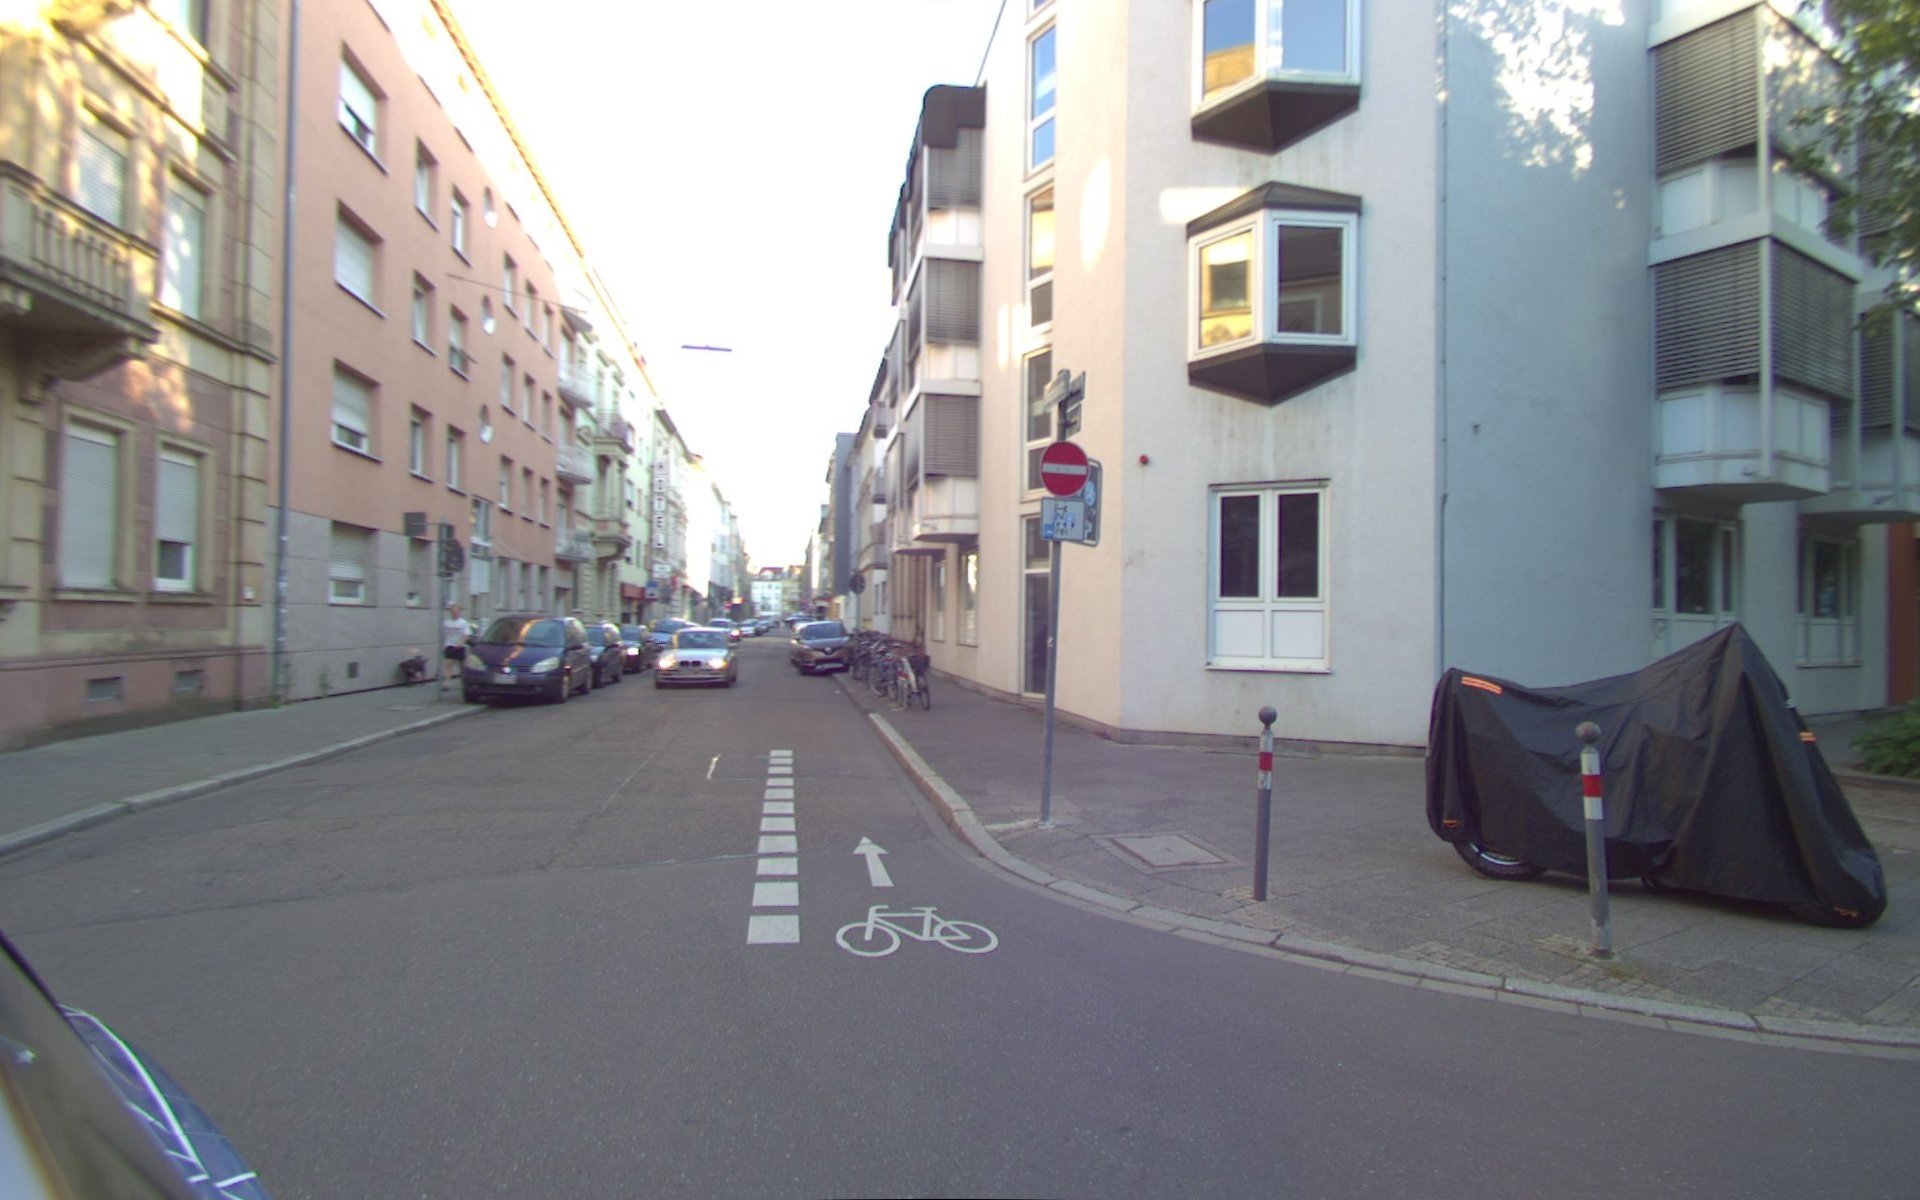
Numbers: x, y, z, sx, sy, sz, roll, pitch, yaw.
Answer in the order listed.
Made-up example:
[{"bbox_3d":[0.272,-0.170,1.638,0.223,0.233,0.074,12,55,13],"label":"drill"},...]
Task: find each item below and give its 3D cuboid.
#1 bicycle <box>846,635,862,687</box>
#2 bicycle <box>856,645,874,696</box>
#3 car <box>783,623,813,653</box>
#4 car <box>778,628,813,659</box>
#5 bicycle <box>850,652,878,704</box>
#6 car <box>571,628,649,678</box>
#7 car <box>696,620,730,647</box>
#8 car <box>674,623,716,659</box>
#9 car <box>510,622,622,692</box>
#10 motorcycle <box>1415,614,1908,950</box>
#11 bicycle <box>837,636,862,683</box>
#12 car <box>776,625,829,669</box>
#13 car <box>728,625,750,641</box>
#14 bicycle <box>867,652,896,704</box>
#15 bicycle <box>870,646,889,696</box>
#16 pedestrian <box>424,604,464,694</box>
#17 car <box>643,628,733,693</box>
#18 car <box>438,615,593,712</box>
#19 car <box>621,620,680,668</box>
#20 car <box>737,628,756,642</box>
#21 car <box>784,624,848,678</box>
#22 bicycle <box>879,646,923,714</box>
[{"bbox_3d":[-2.631,1.480,25.131,0.303,1.232,1.816,0,-2,-9],"label":"bicycle"},{"bbox_3d":[-2.110,1.537,22.376,0.303,1.050,1.816,0,-2,-9],"label":"bicycle"},{"bbox_3d":[-9.777,2.246,60.794,1.616,1.724,3.792,0,-2,-11],"label":"car"},{"bbox_3d":[-8.141,2.125,49.997,1.617,1.500,3.796,0,-2,-10],"label":"car"},{"bbox_3d":[-1.913,1.519,20.032,0.303,0.939,1.818,0,-1,-14],"label":"bicycle"},{"bbox_3d":[-10.968,1.619,31.944,1.668,1.469,4.140,0,-2,-10],"label":"car"},{"bbox_3d":[-17.342,2.356,71.251,1.814,1.708,4.366,5,-2,-8],"label":"car"},{"bbox_3d":[-12.159,1.865,46.646,1.549,1.591,3.597,0,-2,-10],"label":"car"},{"bbox_3d":[-9.345,1.313,24.348,1.668,1.525,4.291,0,-2,-10],"label":"car"},{"bbox_3d":[3.790,0.871,5.683,2.160,1.567,0.660,-1,-2,39],"label":"motorcycle"},{"bbox_3d":[-2.985,1.567,27.191,0.588,1.196,2.269,0,-2,-9],"label":"bicycle"},{"bbox_3d":[-5.905,1.707,37.626,1.767,1.551,4.444,0,-2,-11],"label":"car"},{"bbox_3d":[-20.327,3.049,93.030,1.703,1.409,3.899,0,-2,-8],"label":"car"},{"bbox_3d":[-1.572,1.526,20.097,0.303,0.939,1.817,1,-2,-13],"label":"bicycle"},{"bbox_3d":[-1.797,1.552,22.464,0.303,1.050,1.816,0,-2,-9],"label":"bicycle"},{"bbox_3d":[-10.279,0.975,20.171,0.542,1.757,0.569,1,-2,-10],"label":"pedestrian"},{"bbox_3d":[-6.547,1.410,24.739,1.655,1.414,4.480,-1,-2,-9],"label":"car"},{"bbox_3d":[-8.285,1.134,19.242,1.668,1.637,4.061,0,-2,-8],"label":"car"},{"bbox_3d":[-11.905,1.653,39.147,1.668,1.754,4.117,0,-2,-10],"label":"car"},{"bbox_3d":[-21.471,3.533,101.839,1.703,1.409,3.899,0,-2,-8],"label":"car"},{"bbox_3d":[-4.561,1.553,31.700,1.767,1.588,4.080,0,-2,-11],"label":"car"},{"bbox_3d":[-1.048,1.371,17.763,0.395,1.111,1.818,0,-2,-15],"label":"bicycle"}]
